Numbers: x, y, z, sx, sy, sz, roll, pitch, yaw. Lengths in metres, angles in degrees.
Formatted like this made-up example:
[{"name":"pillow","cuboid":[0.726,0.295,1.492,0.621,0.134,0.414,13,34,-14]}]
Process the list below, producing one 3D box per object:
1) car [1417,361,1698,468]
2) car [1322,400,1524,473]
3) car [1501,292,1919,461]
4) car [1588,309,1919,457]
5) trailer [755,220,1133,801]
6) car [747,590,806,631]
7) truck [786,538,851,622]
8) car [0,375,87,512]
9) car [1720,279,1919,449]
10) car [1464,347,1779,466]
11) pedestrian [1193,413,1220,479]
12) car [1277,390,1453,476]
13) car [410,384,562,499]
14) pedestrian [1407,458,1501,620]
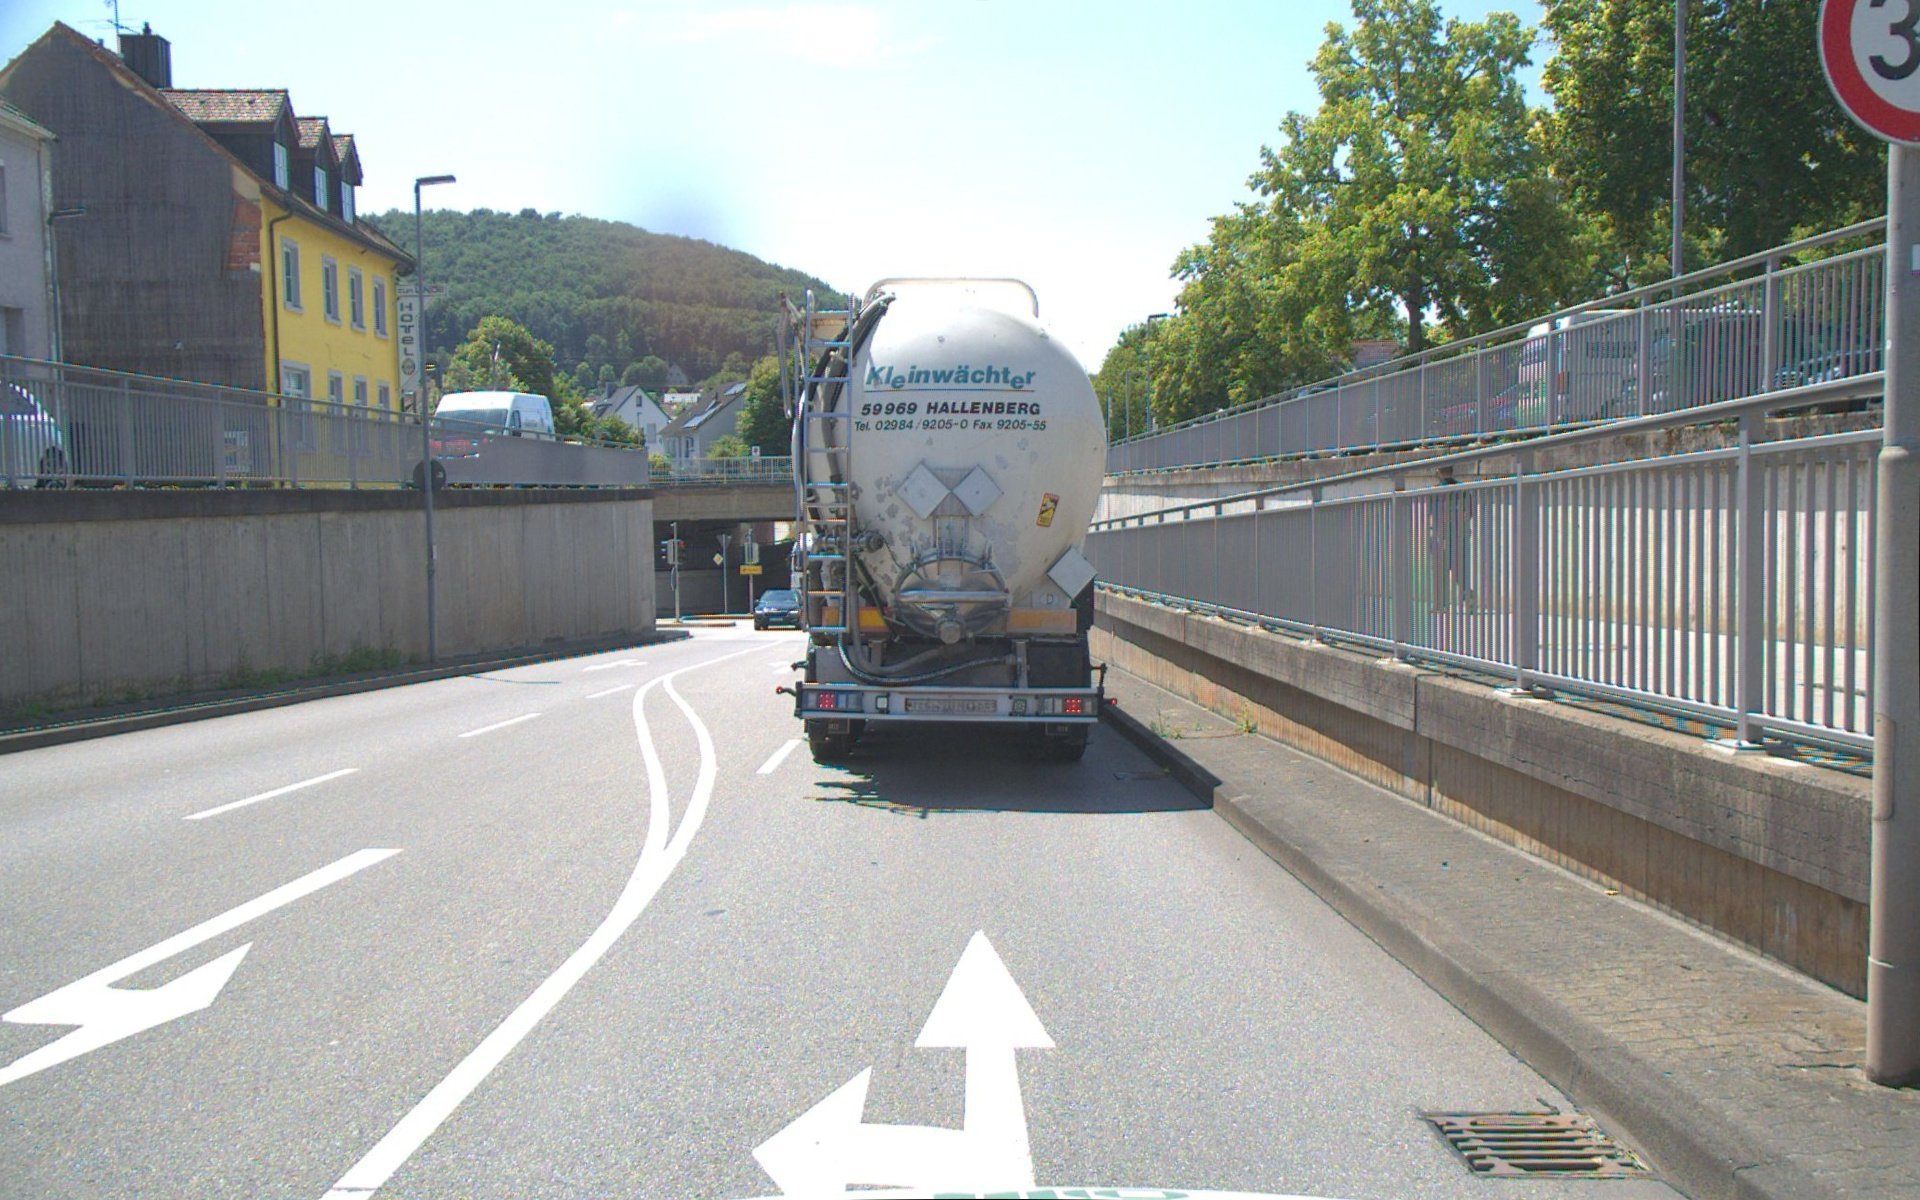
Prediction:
[{"name":"car","cuboid":[9.940,-3.074,27.724,4.118,1.623,1.687,-1,3,0]},{"name":"car","cuboid":[9.746,-3.442,35.009,3.825,1.391,1.687,-1,3,0]},{"name":"car","cuboid":[10.333,-3.044,22.955,5.007,2.099,1.989,-1,3,0]},{"name":"car","cuboid":[10.032,-2.614,20.183,4.118,1.623,1.687,-1,3,0]},{"name":"trailer","cuboid":[-0.070,-0.683,18.463,2.679,4.135,13.313,0,0,0]},{"name":"car","cuboid":[-6.906,0.371,62.545,1.724,1.515,4.368,0,0,0]},{"name":"truck","cuboid":[-6.847,-0.956,80.893,2.607,3.928,6.580,0,0,0]},{"name":"car","cuboid":[-11.328,-1.695,17.702,1.777,1.487,4.310,0,4,-2]},{"name":"car","cuboid":[10.049,-2.327,16.428,4.197,1.524,1.749,-1,3,0]},{"name":"car","cuboid":[9.960,-2.905,25.122,4.118,1.623,1.687,-1,3,0]},{"name":"pedestrian","cuboid":[6.851,-4.283,46.029,0.659,1.810,0.594,-1,3,1]},{"name":"car","cuboid":[9.727,-4.006,39.879,3.825,1.917,1.687,-1,3,0]},{"name":"car","cuboid":[-11.426,-3.770,40.315,2.023,2.580,5.664,1,3,1]},{"name":"pedestrian","cuboid":[5.676,-0.691,19.045,0.819,1.813,0.788,-1,1,0]}]
